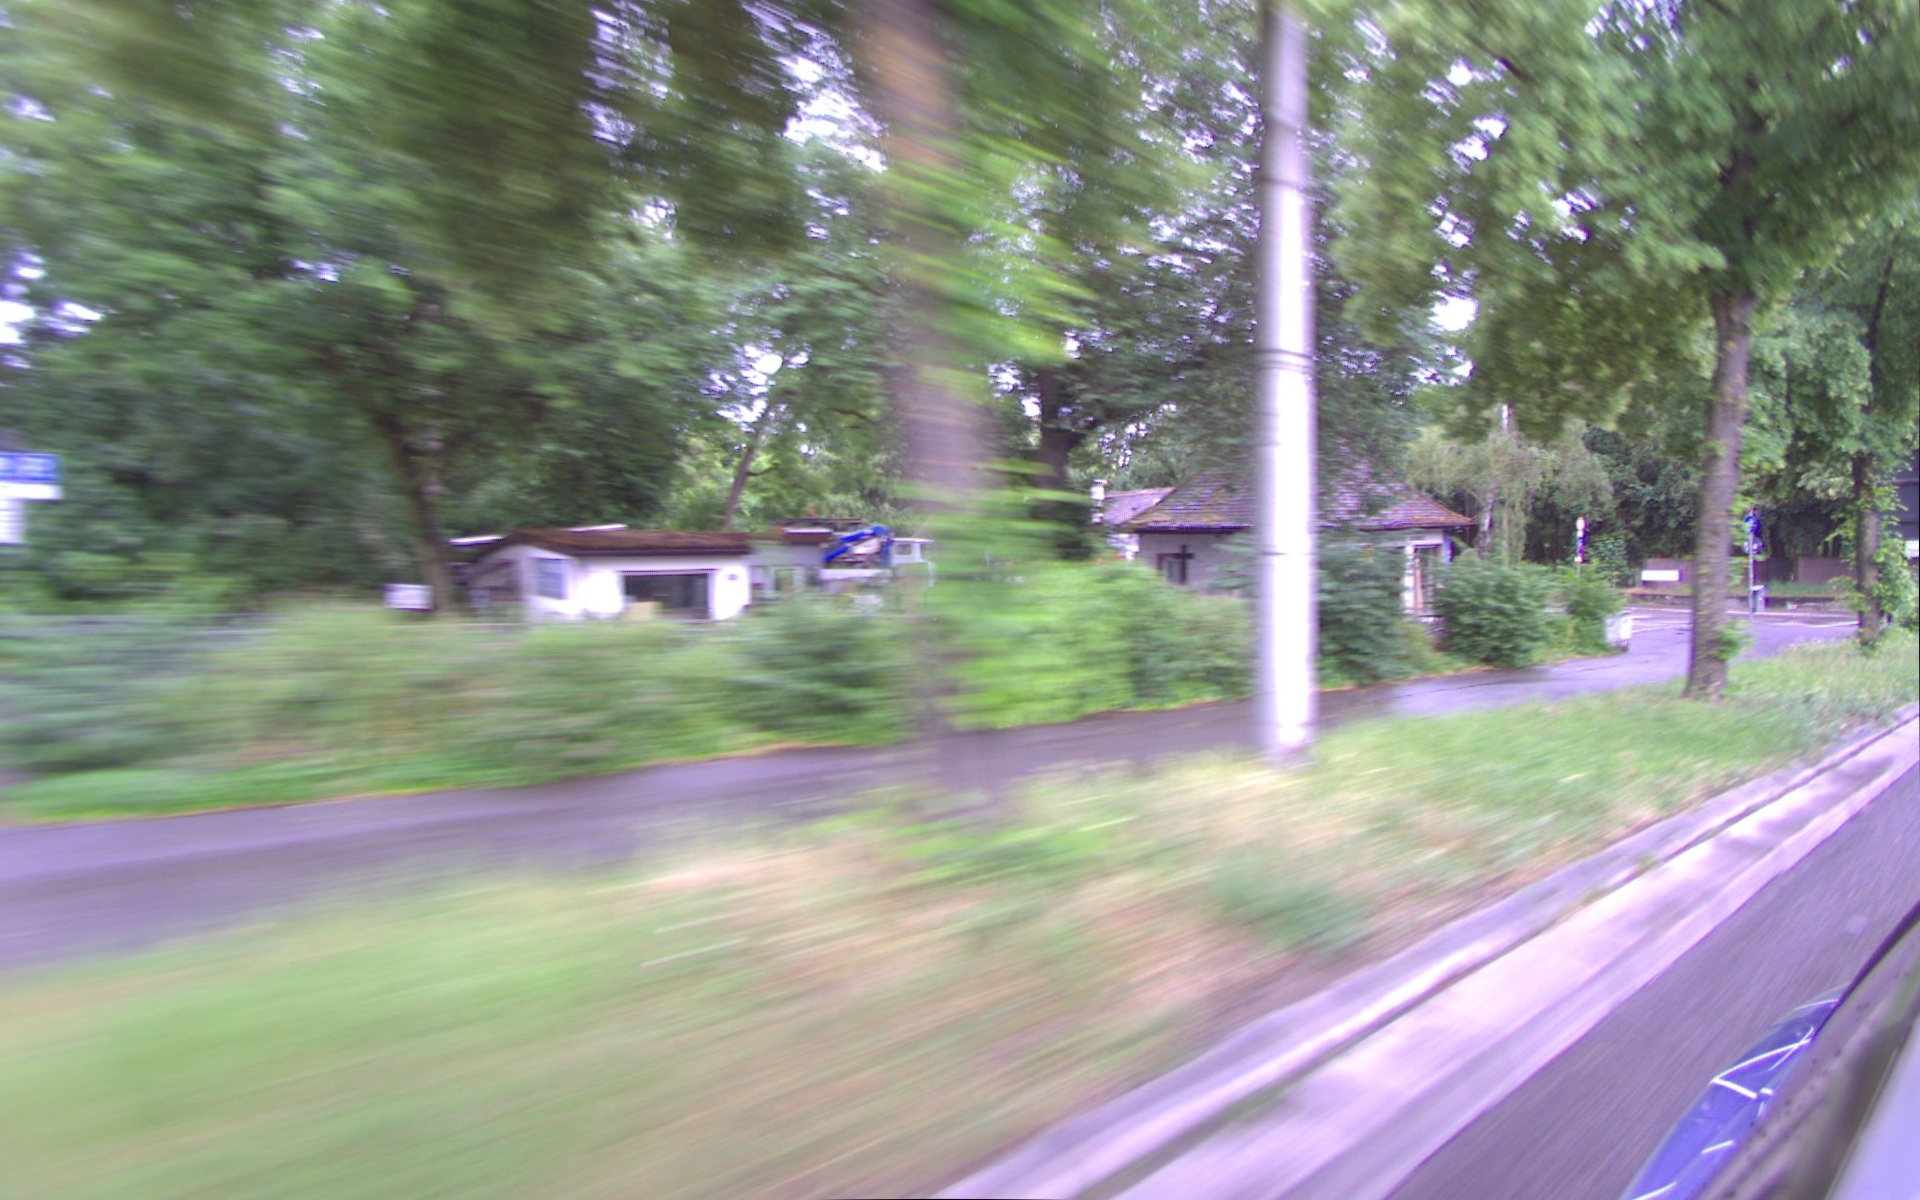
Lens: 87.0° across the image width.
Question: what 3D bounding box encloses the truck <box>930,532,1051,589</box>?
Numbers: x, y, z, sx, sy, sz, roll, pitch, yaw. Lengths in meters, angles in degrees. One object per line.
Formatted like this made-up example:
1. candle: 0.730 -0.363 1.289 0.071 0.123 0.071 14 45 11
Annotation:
1. truck: 1.268 -1.666 44.728 2.185 2.208 5.398 0 -1 -43

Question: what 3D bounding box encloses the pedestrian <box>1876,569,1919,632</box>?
1. pedestrian: 28.587 0.001 30.819 0.723 1.877 0.858 0 2 -36

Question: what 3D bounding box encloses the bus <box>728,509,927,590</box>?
1. bus: -4.764 -1.778 37.163 7.033 2.734 2.259 -1 2 -36

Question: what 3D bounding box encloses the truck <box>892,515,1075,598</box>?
1. truck: 0.893 -1.561 37.584 6.467 2.903 2.064 0 1 -21
